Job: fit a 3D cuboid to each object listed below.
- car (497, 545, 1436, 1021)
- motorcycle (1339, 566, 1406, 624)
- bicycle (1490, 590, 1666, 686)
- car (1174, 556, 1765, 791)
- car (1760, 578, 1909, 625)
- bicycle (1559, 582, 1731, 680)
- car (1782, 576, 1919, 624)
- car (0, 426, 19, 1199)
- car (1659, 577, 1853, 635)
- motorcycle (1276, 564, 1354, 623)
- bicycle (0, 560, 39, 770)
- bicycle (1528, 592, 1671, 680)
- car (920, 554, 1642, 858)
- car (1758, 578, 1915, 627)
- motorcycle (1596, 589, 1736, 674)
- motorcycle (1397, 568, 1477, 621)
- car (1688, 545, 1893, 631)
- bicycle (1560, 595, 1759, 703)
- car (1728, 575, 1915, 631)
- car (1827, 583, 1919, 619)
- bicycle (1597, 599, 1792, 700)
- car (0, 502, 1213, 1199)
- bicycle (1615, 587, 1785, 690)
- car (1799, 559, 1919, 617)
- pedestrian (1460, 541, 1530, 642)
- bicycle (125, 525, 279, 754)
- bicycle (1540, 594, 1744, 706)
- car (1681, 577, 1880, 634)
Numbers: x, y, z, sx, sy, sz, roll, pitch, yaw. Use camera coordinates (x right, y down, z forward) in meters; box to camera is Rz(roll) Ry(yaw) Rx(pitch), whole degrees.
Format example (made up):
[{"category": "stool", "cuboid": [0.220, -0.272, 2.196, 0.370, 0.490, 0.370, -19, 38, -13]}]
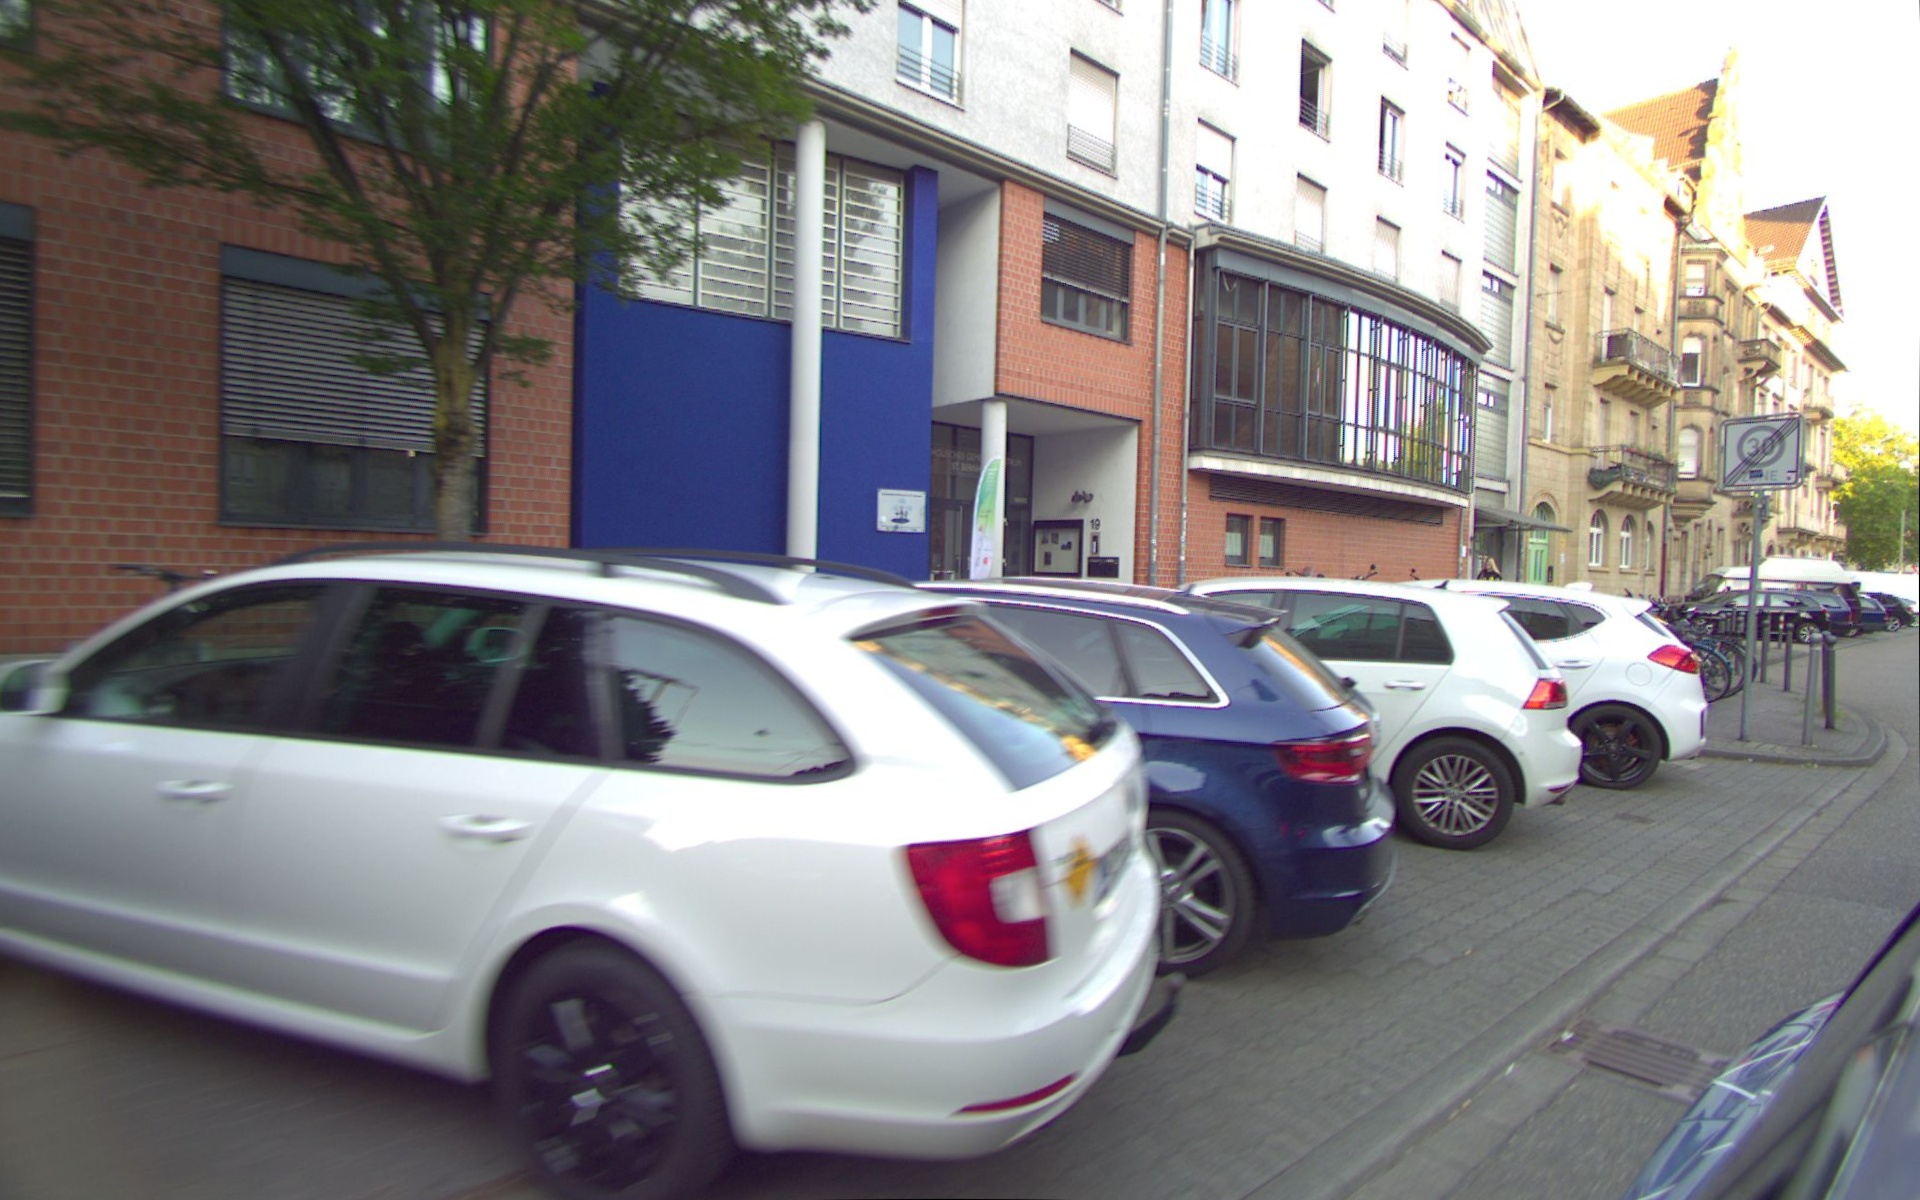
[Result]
[{"category": "car", "cuboid": [-0.027, 0.548, 4.869, 3.949, 1.541, 1.700, 2, 3, 19]}, {"category": "motorcycle", "cuboid": [9.105, -0.136, 22.280, 0.773, 1.153, 2.385, 4, 4, 35]}, {"category": "bicycle", "cuboid": [7.996, 0.462, 13.175, 0.395, 1.051, 1.861, 0, 4, -42]}, {"category": "car", "cuboid": [3.925, 0.454, 8.462, 3.951, 1.525, 1.759, 2, 2, 20]}, {"category": "car", "cuboid": [34.730, 0.041, 40.290, 3.999, 1.516, 1.747, 4, 4, 14]}, {"category": "bicycle", "cuboid": [9.785, 0.405, 14.514, 0.647, 1.159, 1.864, 0, 5, -41]}, {"category": "car", "cuboid": [36.976, -0.014, 41.934, 4.035, 1.626, 1.811, 4, 4, 12]}, {"category": "car", "cuboid": [-3.654, 0.447, 1.544, 3.556, 1.600, 1.708, 2, 2, 17]}, {"category": "car", "cuboid": [23.120, 0.133, 29.571, 4.017, 1.510, 1.714, 2, 2, 19]}, {"category": "motorcycle", "cuboid": [7.295, -0.150, 20.750, 2.050, 1.116, 0.589, -1, 5, -45]}, {"category": "bicycle", "cuboid": [-5.756, 0.341, 5.687, 0.667, 0.970, 2.543, 0, 5, -38]}, {"category": "bicycle", "cuboid": [8.770, 0.467, 13.921, 0.464, 1.051, 1.543, 0, 4, -42]}, {"category": "car", "cuboid": [1.899, 0.494, 6.770, 3.945, 1.490, 1.867, 2, 3, 17]}, {"category": "car", "cuboid": [33.153, 0.054, 38.411, 3.978, 1.448, 1.860, 4, 4, 15]}, {"category": "motorcycle", "cuboid": [10.763, 0.445, 15.458, 1.644, 1.115, 0.638, 6, 4, 41]}, {"category": "motorcycle", "cuboid": [11.424, -0.135, 24.192, 2.398, 1.153, 0.801, 0, 4, -42]}, {"category": "car", "cuboid": [26.799, -0.456, 32.864, 4.668, 2.578, 1.906, 2, 2, 21]}, {"category": "bicycle", "cuboid": [8.335, 0.547, 12.135, 0.438, 1.078, 1.861, 0, 4, -42]}, {"category": "car", "cuboid": [29.202, 0.052, 34.475, 4.344, 1.504, 1.833, 5, 3, 19]}, {"category": "car", "cuboid": [44.054, 0.062, 47.756, 4.188, 1.470, 1.995, 3, 3, 11]}, {"category": "bicycle", "cuboid": [9.122, 0.576, 12.634, 0.464, 1.051, 1.861, 0, 4, -42]}, {"category": "car", "cuboid": [-1.295, 0.531, 3.252, 3.949, 1.556, 1.626, 2, 1, 19]}, {"category": "bicycle", "cuboid": [9.834, 0.471, 13.505, 0.464, 1.190, 1.711, 0, 4, -42]}, {"category": "car", "cuboid": [45.608, -0.581, 50.059, 5.788, 2.581, 2.193, 3, 4, 9]}, {"category": "pedestrian", "cuboid": [11.465, -0.193, 21.686, 0.842, 2.032, 0.610, -1, 15, -40]}, {"category": "bicycle", "cuboid": [-4.829, 0.141, 6.428, 0.667, 1.112, 2.354, 0, 5, -38]}, {"category": "bicycle", "cuboid": [7.866, 0.536, 11.760, 0.438, 1.078, 1.861, 0, 4, -42]}, {"category": "car", "cuboid": [25.040, 0.131, 31.103, 4.305, 1.521, 1.900, 2, 2, 22]}]
